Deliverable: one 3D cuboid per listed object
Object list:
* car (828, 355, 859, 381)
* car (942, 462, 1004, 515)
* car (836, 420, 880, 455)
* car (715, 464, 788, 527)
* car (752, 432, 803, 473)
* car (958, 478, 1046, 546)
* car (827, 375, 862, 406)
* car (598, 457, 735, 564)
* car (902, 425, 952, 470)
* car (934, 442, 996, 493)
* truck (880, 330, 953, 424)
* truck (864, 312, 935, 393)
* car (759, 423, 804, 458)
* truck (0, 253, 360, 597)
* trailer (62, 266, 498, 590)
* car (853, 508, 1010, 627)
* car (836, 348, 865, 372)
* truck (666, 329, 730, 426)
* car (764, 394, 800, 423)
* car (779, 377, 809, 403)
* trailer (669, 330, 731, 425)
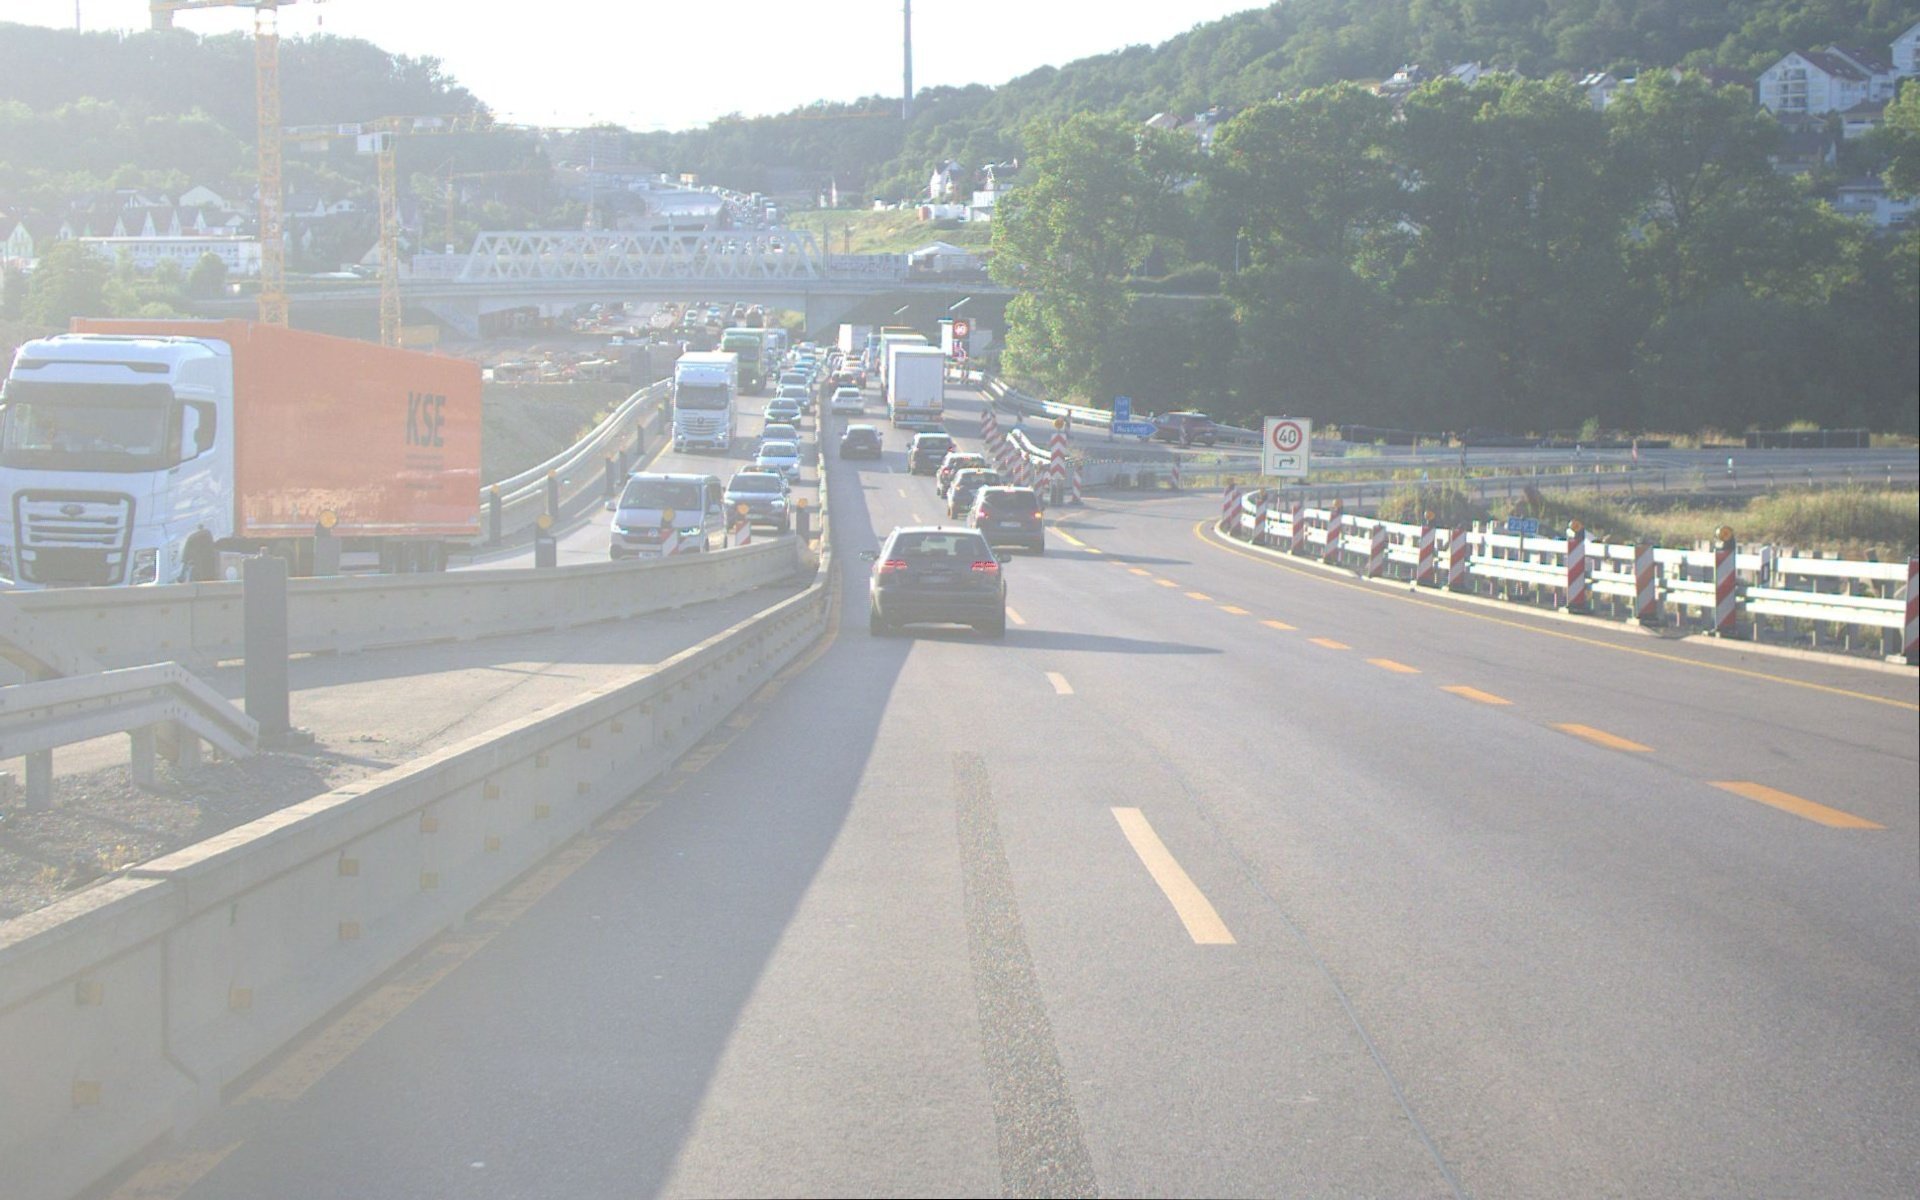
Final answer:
[{"bbox_3d":[-7.397,-14.778,218.947,1.923,1.546,4.001,1,3,-2],"label":"car"},{"bbox_3d":[0.390,-3.478,107.541,1.774,1.580,4.135,2,2,-1],"label":"car"},{"bbox_3d":[-4.489,-7.158,151.632,1.863,1.415,4.001,1,4,-2],"label":"car"},{"bbox_3d":[-5.747,-2.923,95.303,1.788,1.614,4.875,2,2,-1],"label":"car"},{"bbox_3d":[-7.037,-5.684,132.669,1.788,1.483,4.220,2,2,-1],"label":"car"},{"bbox_3d":[1.001,-2.179,84.725,1.812,1.609,4.527,1,2,-3],"label":"car"},{"bbox_3d":[-6.472,-11.757,193.239,1.923,1.546,4.001,1,2,-2],"label":"car"},{"bbox_3d":[-5.877,-1.830,69.393,1.994,2.006,5.257,2,2,3],"label":"car"},{"bbox_3d":[-1.366,-6.203,139.763,1.814,1.626,4.413,1,5,-3],"label":"car"},{"bbox_3d":[0.153,-4.729,122.274,1.875,1.593,4.968,1,4,-3],"label":"car"},{"bbox_3d":[-2.391,-11.959,182.900,3.385,4.481,15.273,2,5,-2],"label":"truck"},{"bbox_3d":[-3.809,-15.463,213.550,3.890,4.481,15.274,2,6,-3],"label":"truck"},{"bbox_3d":[-7.806,-6.982,150.455,1.850,1.478,4.512,0,3,-2],"label":"car"},{"bbox_3d":[-11.167,-2.439,49.514,2.584,4.455,8.331,2,2,7],"label":"truck"},{"bbox_3d":[-10.509,-2.622,55.320,2.584,4.455,14.134,2,2,6],"label":"trailer"},{"bbox_3d":[-0.421,-0.463,45.130,1.769,1.385,4.001,1,2,-4],"label":"car"},{"bbox_3d":[-7.541,-16.565,237.000,1.923,1.546,4.001,1,3,-2],"label":"car"},{"bbox_3d":[-11.857,-10.069,155.830,2.552,4.206,6.052,2,3,-3],"label":"truck"},{"bbox_3d":[-9.217,-9.965,178.374,1.836,1.404,4.496,1,4,-2],"label":"car"},{"bbox_3d":[-9.539,-12.107,197.919,1.715,1.404,4.329,1,4,-2],"label":"car"},{"bbox_3d":[-12.222,-10.457,162.338,2.530,4.198,13.938,2,3,-3],"label":"trailer"}]
